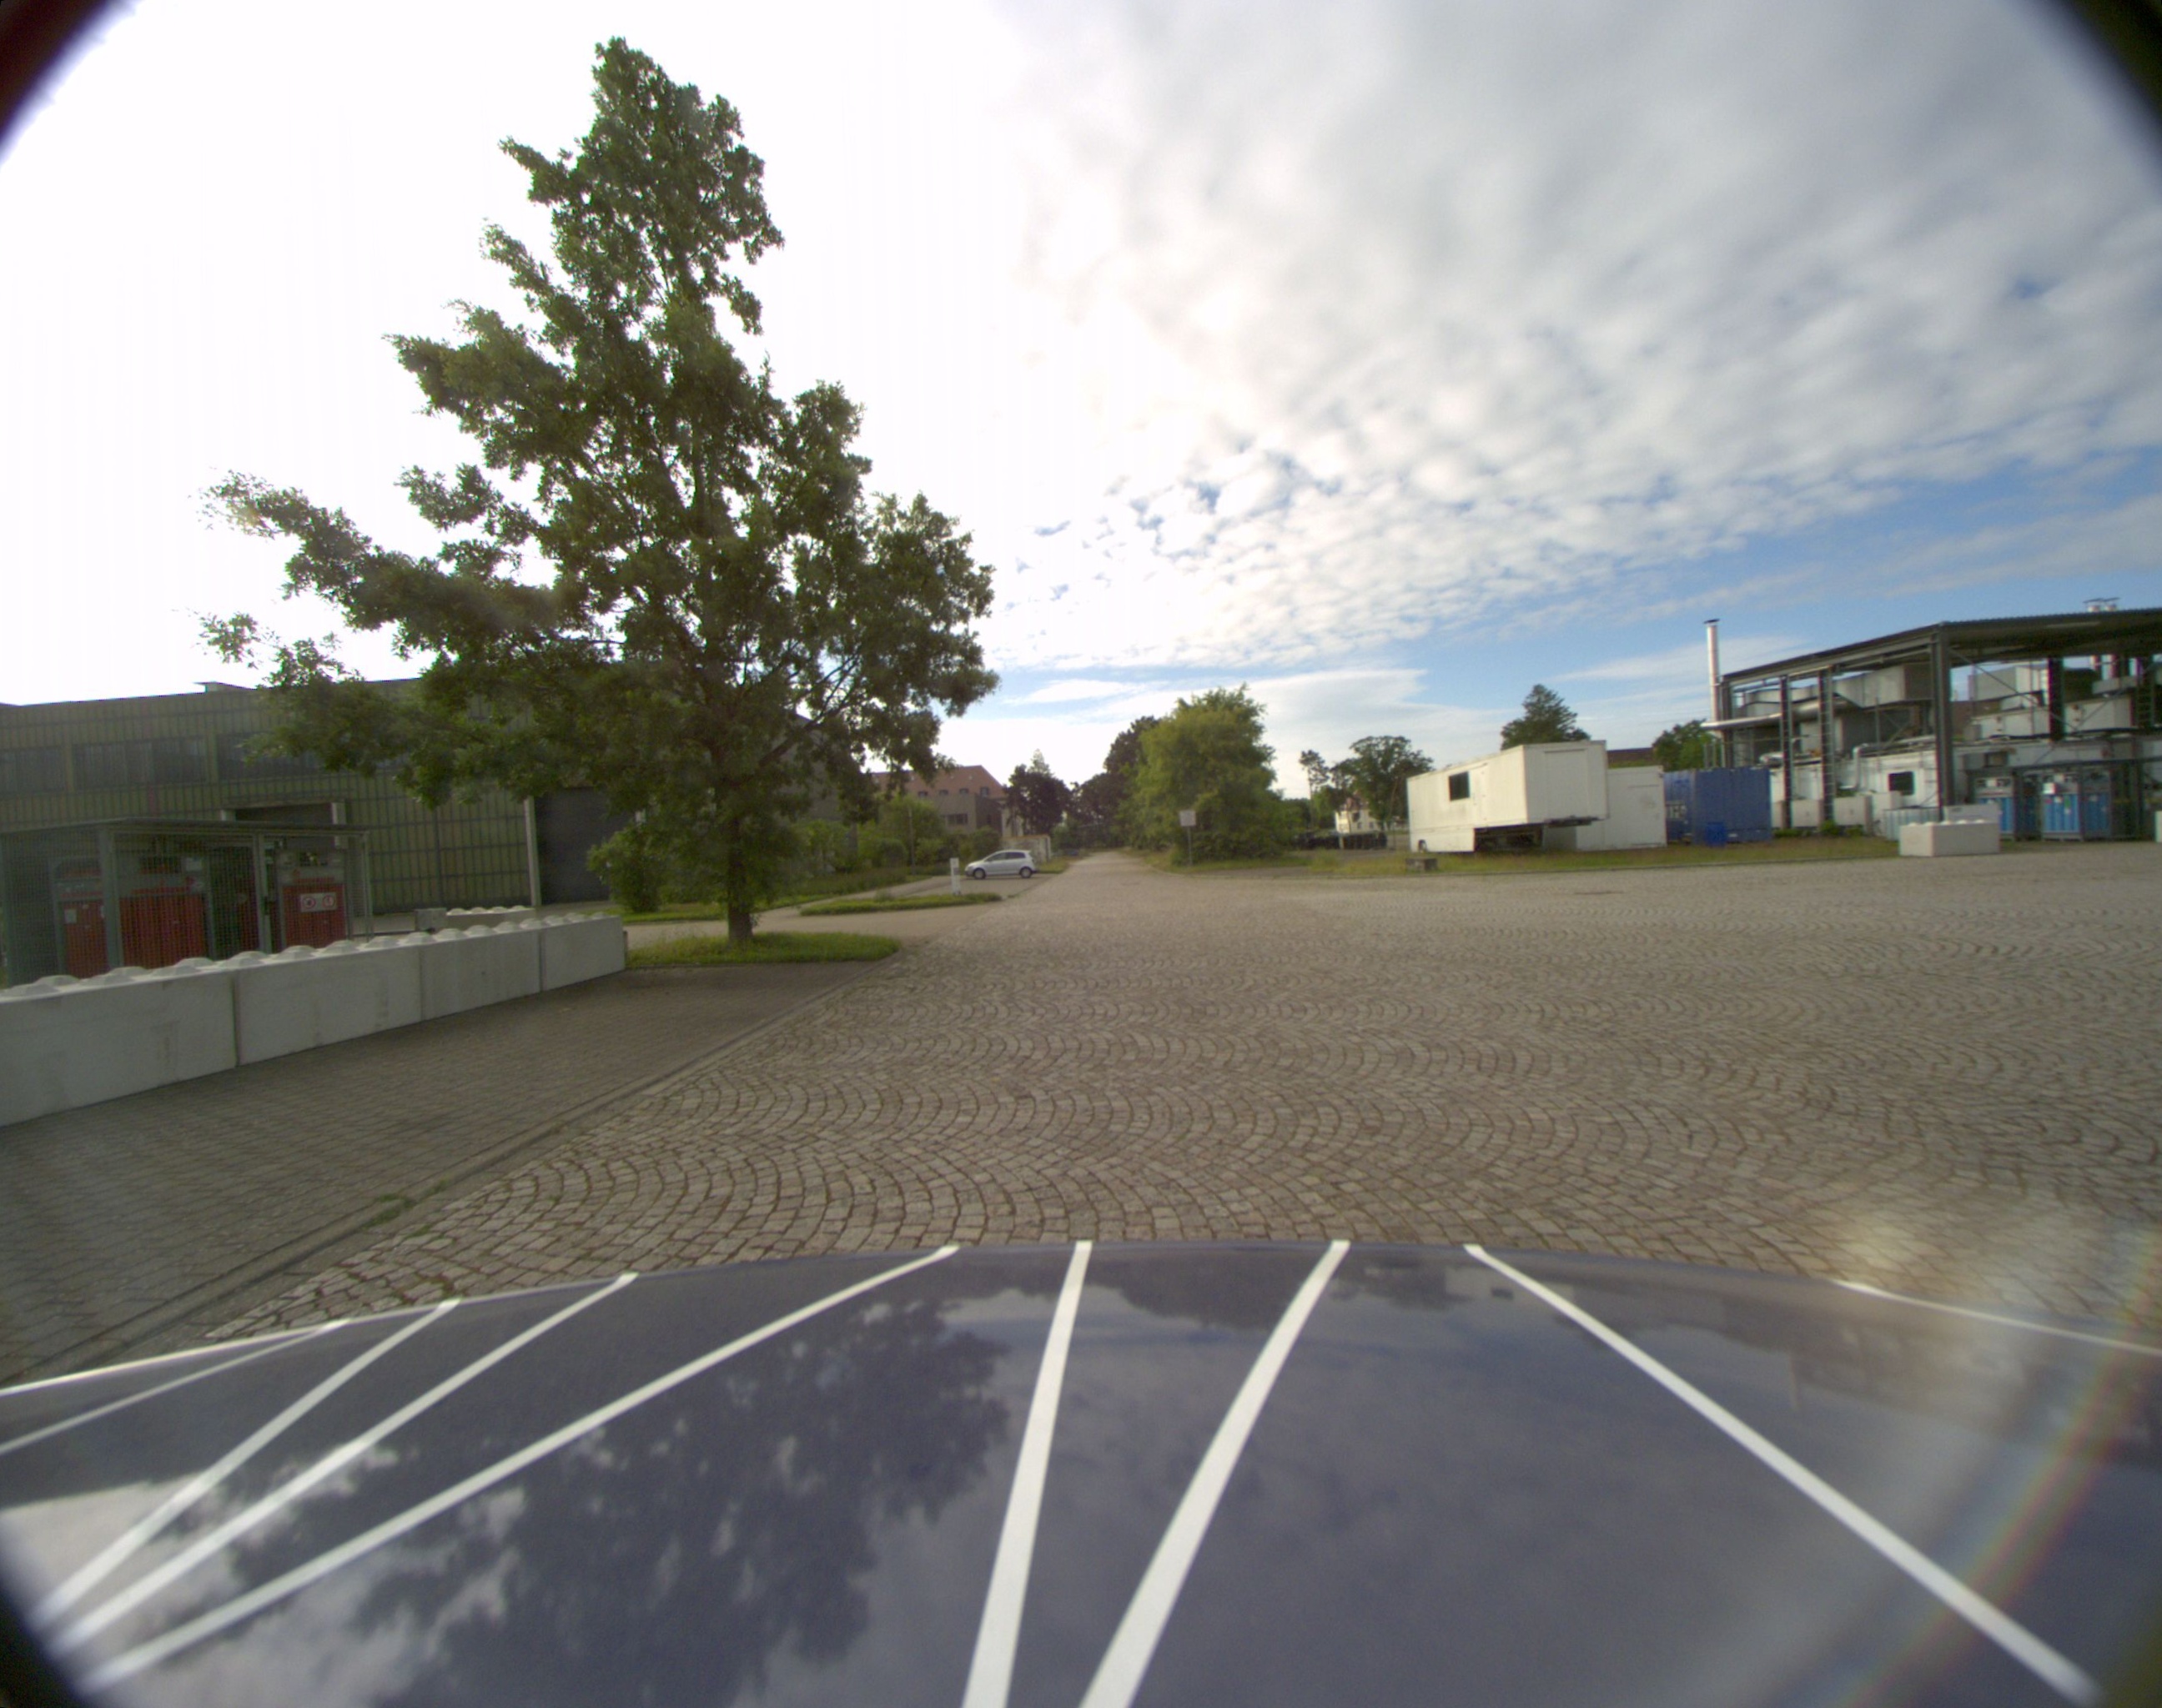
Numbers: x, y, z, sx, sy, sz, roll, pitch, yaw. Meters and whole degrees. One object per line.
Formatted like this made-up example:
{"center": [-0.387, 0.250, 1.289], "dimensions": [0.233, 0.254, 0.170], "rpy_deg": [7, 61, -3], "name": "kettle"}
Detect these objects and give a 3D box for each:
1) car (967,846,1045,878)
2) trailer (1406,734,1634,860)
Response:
{"center": [-4.193, 0.445, 42.906], "dimensions": [4.131, 1.615, 1.938], "rpy_deg": [-2, 2, 0], "name": "car"}
{"center": [15.566, -1.809, 28.373], "dimensions": [2.875, 3.641, 10.779], "rpy_deg": [-3, 1, 4], "name": "trailer"}
